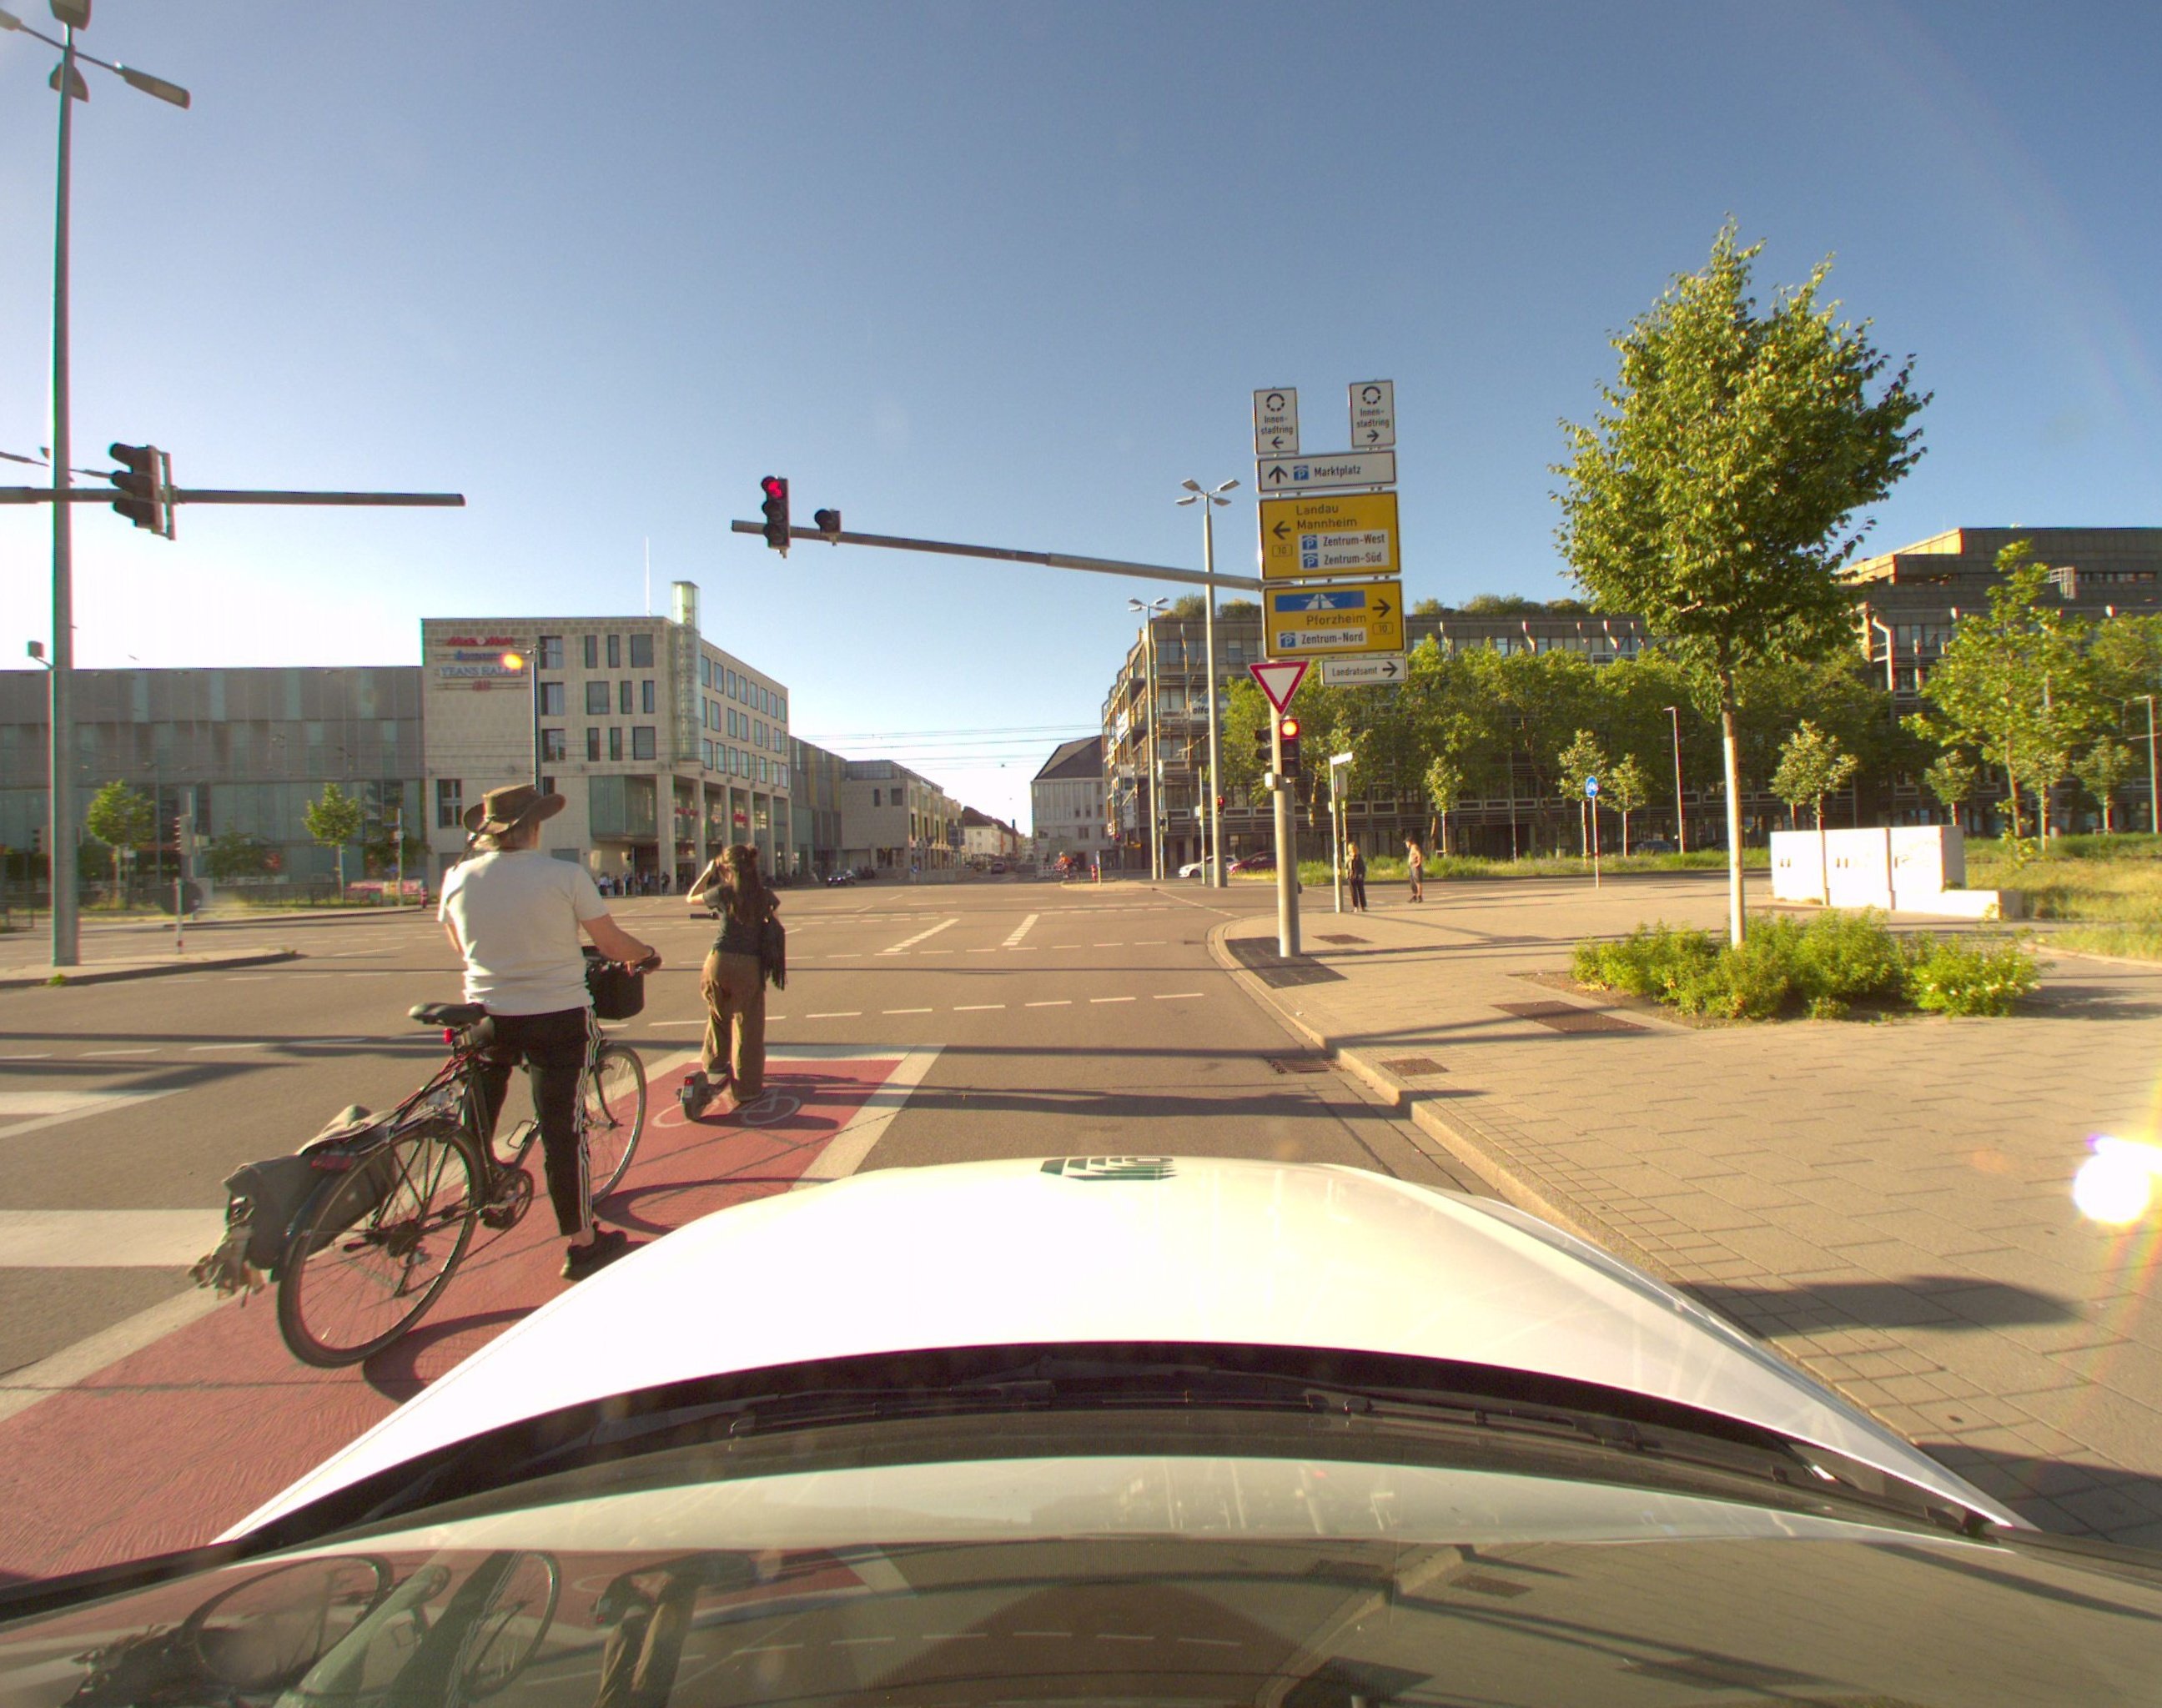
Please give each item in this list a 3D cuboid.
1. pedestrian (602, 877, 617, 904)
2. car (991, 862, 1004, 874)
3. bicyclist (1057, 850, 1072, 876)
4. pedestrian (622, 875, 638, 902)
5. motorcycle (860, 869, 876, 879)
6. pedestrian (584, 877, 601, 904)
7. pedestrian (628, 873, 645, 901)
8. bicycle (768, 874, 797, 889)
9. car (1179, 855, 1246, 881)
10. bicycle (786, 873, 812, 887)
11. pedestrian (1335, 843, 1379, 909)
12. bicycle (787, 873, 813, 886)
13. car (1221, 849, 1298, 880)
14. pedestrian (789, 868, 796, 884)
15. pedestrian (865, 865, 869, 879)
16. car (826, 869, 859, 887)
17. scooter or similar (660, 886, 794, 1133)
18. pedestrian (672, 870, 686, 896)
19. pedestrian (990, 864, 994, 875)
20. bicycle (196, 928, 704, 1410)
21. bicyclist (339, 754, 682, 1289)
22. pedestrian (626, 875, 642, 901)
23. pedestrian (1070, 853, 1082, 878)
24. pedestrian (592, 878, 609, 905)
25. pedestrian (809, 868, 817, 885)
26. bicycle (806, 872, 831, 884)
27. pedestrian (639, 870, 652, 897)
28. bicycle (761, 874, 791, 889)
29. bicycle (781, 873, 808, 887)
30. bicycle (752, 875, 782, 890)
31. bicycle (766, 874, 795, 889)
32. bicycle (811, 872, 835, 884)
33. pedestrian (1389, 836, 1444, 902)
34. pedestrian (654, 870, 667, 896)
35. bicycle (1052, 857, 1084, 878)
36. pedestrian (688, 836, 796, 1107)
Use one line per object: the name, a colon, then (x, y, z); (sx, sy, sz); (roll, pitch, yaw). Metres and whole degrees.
pedestrian: (-33.993, 2.622, 58.720); (0.714, 1.885, 0.786); (0, -1, -6)
car: (-11.142, 1.855, 108.656); (1.735, 1.531, 3.848); (0, -1, -5)
bicyclist: (-0.903, 0.479, 44.863); (0.712, 1.437, 0.494); (0, -1, -16)
pedestrian: (-31.947, 2.448, 57.692); (0.783, 1.885, 0.716); (0, -1, -4)
motorcycle: (-25.785, 2.427, 98.739); (1.807, 1.206, 0.509); (0, 0, -14)
pedestrian: (-35.031, 2.611, 58.357); (0.783, 1.885, 0.716); (0, -1, -4)
pedestrian: (-32.818, 2.407, 60.180); (0.883, 2.014, 0.771); (0, -1, -9)
bicycle: (-26.742, 2.434, 72.896); (2.299, 1.222, 0.612); (-2, -1, -1)
car: (8.185, 0.855, 50.835); (3.892, 1.585, 1.656); (0, -1, -5)
bicycle: (-27.065, 2.479, 78.132); (2.299, 1.222, 0.612); (-2, -1, -1)
pedestrian: (6.311, 0.500, 18.657); (0.785, 1.492, 0.644); (0, -1, 1)
bicycle: (-27.632, 2.500, 80.126); (2.299, 1.222, 0.612); (-2, -1, -1)
car: (9.970, 0.606, 45.690); (3.878, 1.585, 1.657); (-2, -1, -5)
pedestrian: (-29.765, 2.246, 83.911); (0.570, 1.679, 0.614); (0, 0, -8)
pedestrian: (-26.105, 2.188, 99.356); (0.521, 1.679, 0.580); (0, 0, -12)
car: (-20.626, 2.048, 70.508); (1.625, 1.342, 3.999); (-4, -1, 0)
scooter or similar: (-2.154, 0.871, 5.076); (0.547, 1.294, 1.188); (0, -1, -13)
pedestrian: (-29.107, 2.063, 58.940); (0.801, 1.843, 0.855); (-2, 0, -30)
pedestrian: (-12.824, 2.237, 117.497); (0.520, 1.679, 0.582); (0, 0, -5)
bicycle: (-2.146, 0.943, 3.140); (0.483, 1.156, 1.832); (0, -1, 2)
bicyclist: (-2.054, 0.544, 3.063); (0.658, 1.720, 0.866); (0, -1, 1)
pedestrian: (-32.514, 2.465, 59.244); (0.783, 1.885, 0.716); (0, -1, -4)
pedestrian: (-0.360, 0.853, 60.093); (0.637, 1.890, 0.794); (-1, -1, 16)
pedestrian: (-33.870, 2.610, 57.373); (0.783, 1.885, 0.716); (0, -1, -4)
pedestrian: (-27.074, 2.294, 82.200); (0.650, 1.719, 0.447); (-2, 0, -22)
bicycle: (-27.591, 2.545, 85.582); (2.299, 1.222, 0.612); (-2, -1, -1)
pedestrian: (-31.144, 2.110, 58.250); (0.718, 1.885, 0.781); (0, -1, -25)
bicycle: (-26.464, 2.413, 70.652); (2.299, 1.222, 0.612); (-2, -1, -1)
bicycle: (-26.699, 2.459, 75.964); (2.299, 1.222, 0.612); (-2, -1, -1)
bicycle: (-26.736, 2.405, 69.375); (2.299, 1.222, 0.612); (-2, -1, -1)
bicycle: (-26.567, 2.425, 72.011); (2.299, 1.222, 0.612); (-2, -1, -1)
bicycle: (-27.426, 2.552, 86.647); (2.299, 1.222, 0.612); (-2, -1, -1)
pedestrian: (8.652, 0.376, 21.032); (0.881, 1.665, 0.958); (0, -1, -19)
pedestrian: (-30.794, 2.116, 59.666); (0.800, 1.843, 0.856); (-2, 0, -26)
bicycle: (-0.720, 0.732, 44.917); (1.648, 1.154, 0.494); (0, -1, -16)
pedestrian: (-2.160, 0.706, 5.245); (0.549, 1.633, 0.569); (0, -1, -13)
